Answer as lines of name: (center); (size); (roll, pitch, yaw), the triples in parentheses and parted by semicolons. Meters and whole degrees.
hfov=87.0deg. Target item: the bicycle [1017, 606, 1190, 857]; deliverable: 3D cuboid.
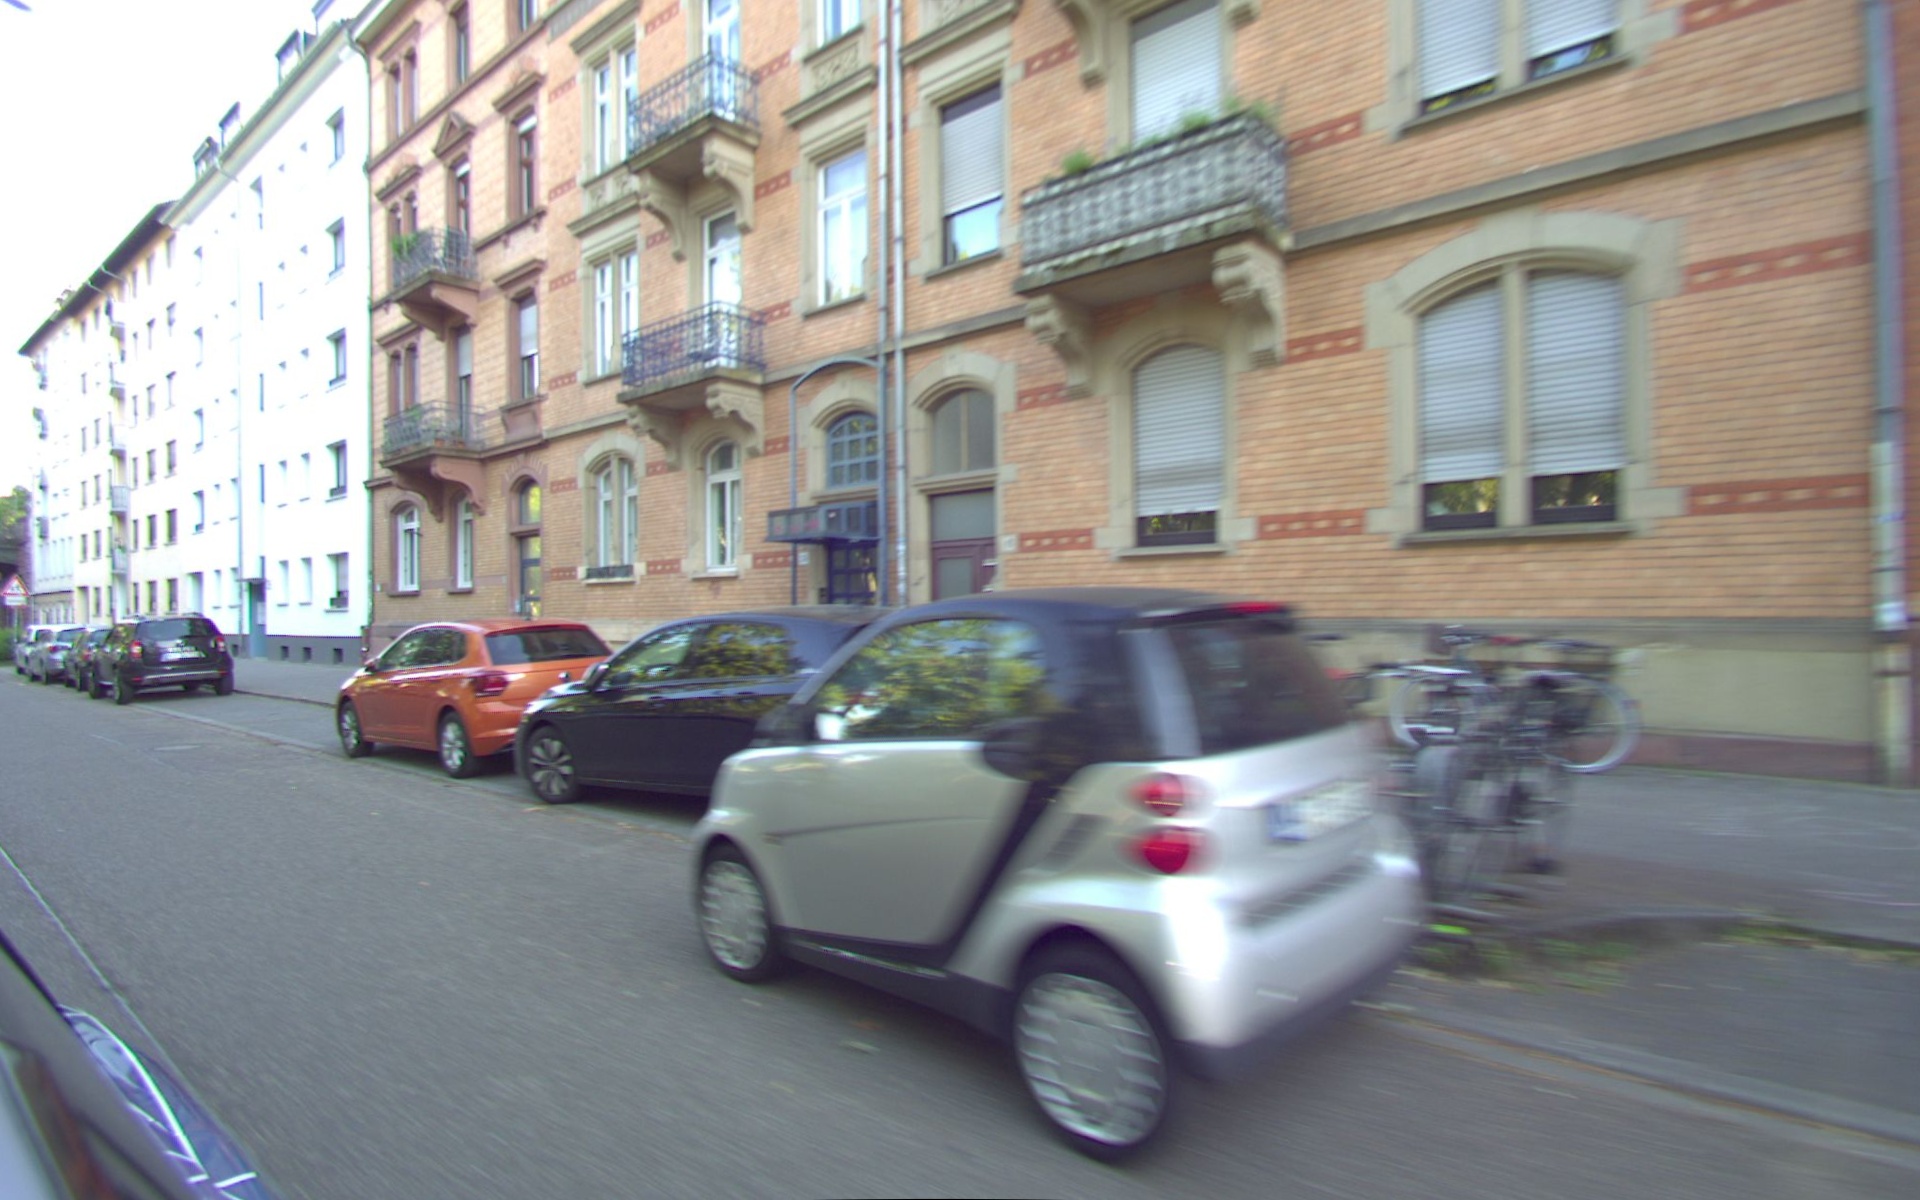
bicycle: (0.947, 0.674, 6.176); (0.439, 1.224, 2.077); (0, 1, 26)

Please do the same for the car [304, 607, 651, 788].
car: (-5.181, 0.890, 10.648); (3.996, 1.475, 1.736); (-2, 1, 40)

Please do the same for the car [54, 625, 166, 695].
car: (-20.284, 1.374, 24.088); (4.001, 1.462, 1.598); (-2, 0, 44)

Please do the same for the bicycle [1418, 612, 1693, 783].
bicycle: (4.492, 0.681, 7.744); (1.770, 1.139, 0.422); (1, 1, 45)

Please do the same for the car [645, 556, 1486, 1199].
car: (0.227, 0.670, 3.744); (2.752, 1.446, 1.488); (-2, -2, 43)

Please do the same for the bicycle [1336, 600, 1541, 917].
bicycle: (2.323, 0.627, 4.800); (0.428, 1.224, 1.745); (0, 1, 41)

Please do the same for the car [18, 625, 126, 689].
car: (-23.769, 1.459, 27.029); (4.283, 1.482, 1.651); (-1, 2, 42)

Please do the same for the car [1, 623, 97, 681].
car: (-27.503, 1.524, 30.507); (3.998, 1.519, 1.651); (-2, 2, 41)

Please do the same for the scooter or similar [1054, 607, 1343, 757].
scooter or similar: (2.231, 0.711, 9.838); (2.703, 1.231, 0.775); (1, 1, 42)

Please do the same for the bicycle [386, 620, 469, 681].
bicycle: (-11.398, 1.069, 21.615); (2.513, 1.216, 0.729); (-3, -1, 43)

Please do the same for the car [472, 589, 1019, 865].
car: (-1.770, 0.760, 7.732); (4.143, 1.558, 1.732); (-1, 1, 36)

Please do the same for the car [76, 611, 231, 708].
car: (-16.344, 1.140, 20.436); (4.198, 1.719, 1.733); (-2, 0, 41)

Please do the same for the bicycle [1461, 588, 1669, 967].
bicycle: (2.723, 0.631, 4.471); (0.495, 1.358, 1.745); (0, 1, 41)
